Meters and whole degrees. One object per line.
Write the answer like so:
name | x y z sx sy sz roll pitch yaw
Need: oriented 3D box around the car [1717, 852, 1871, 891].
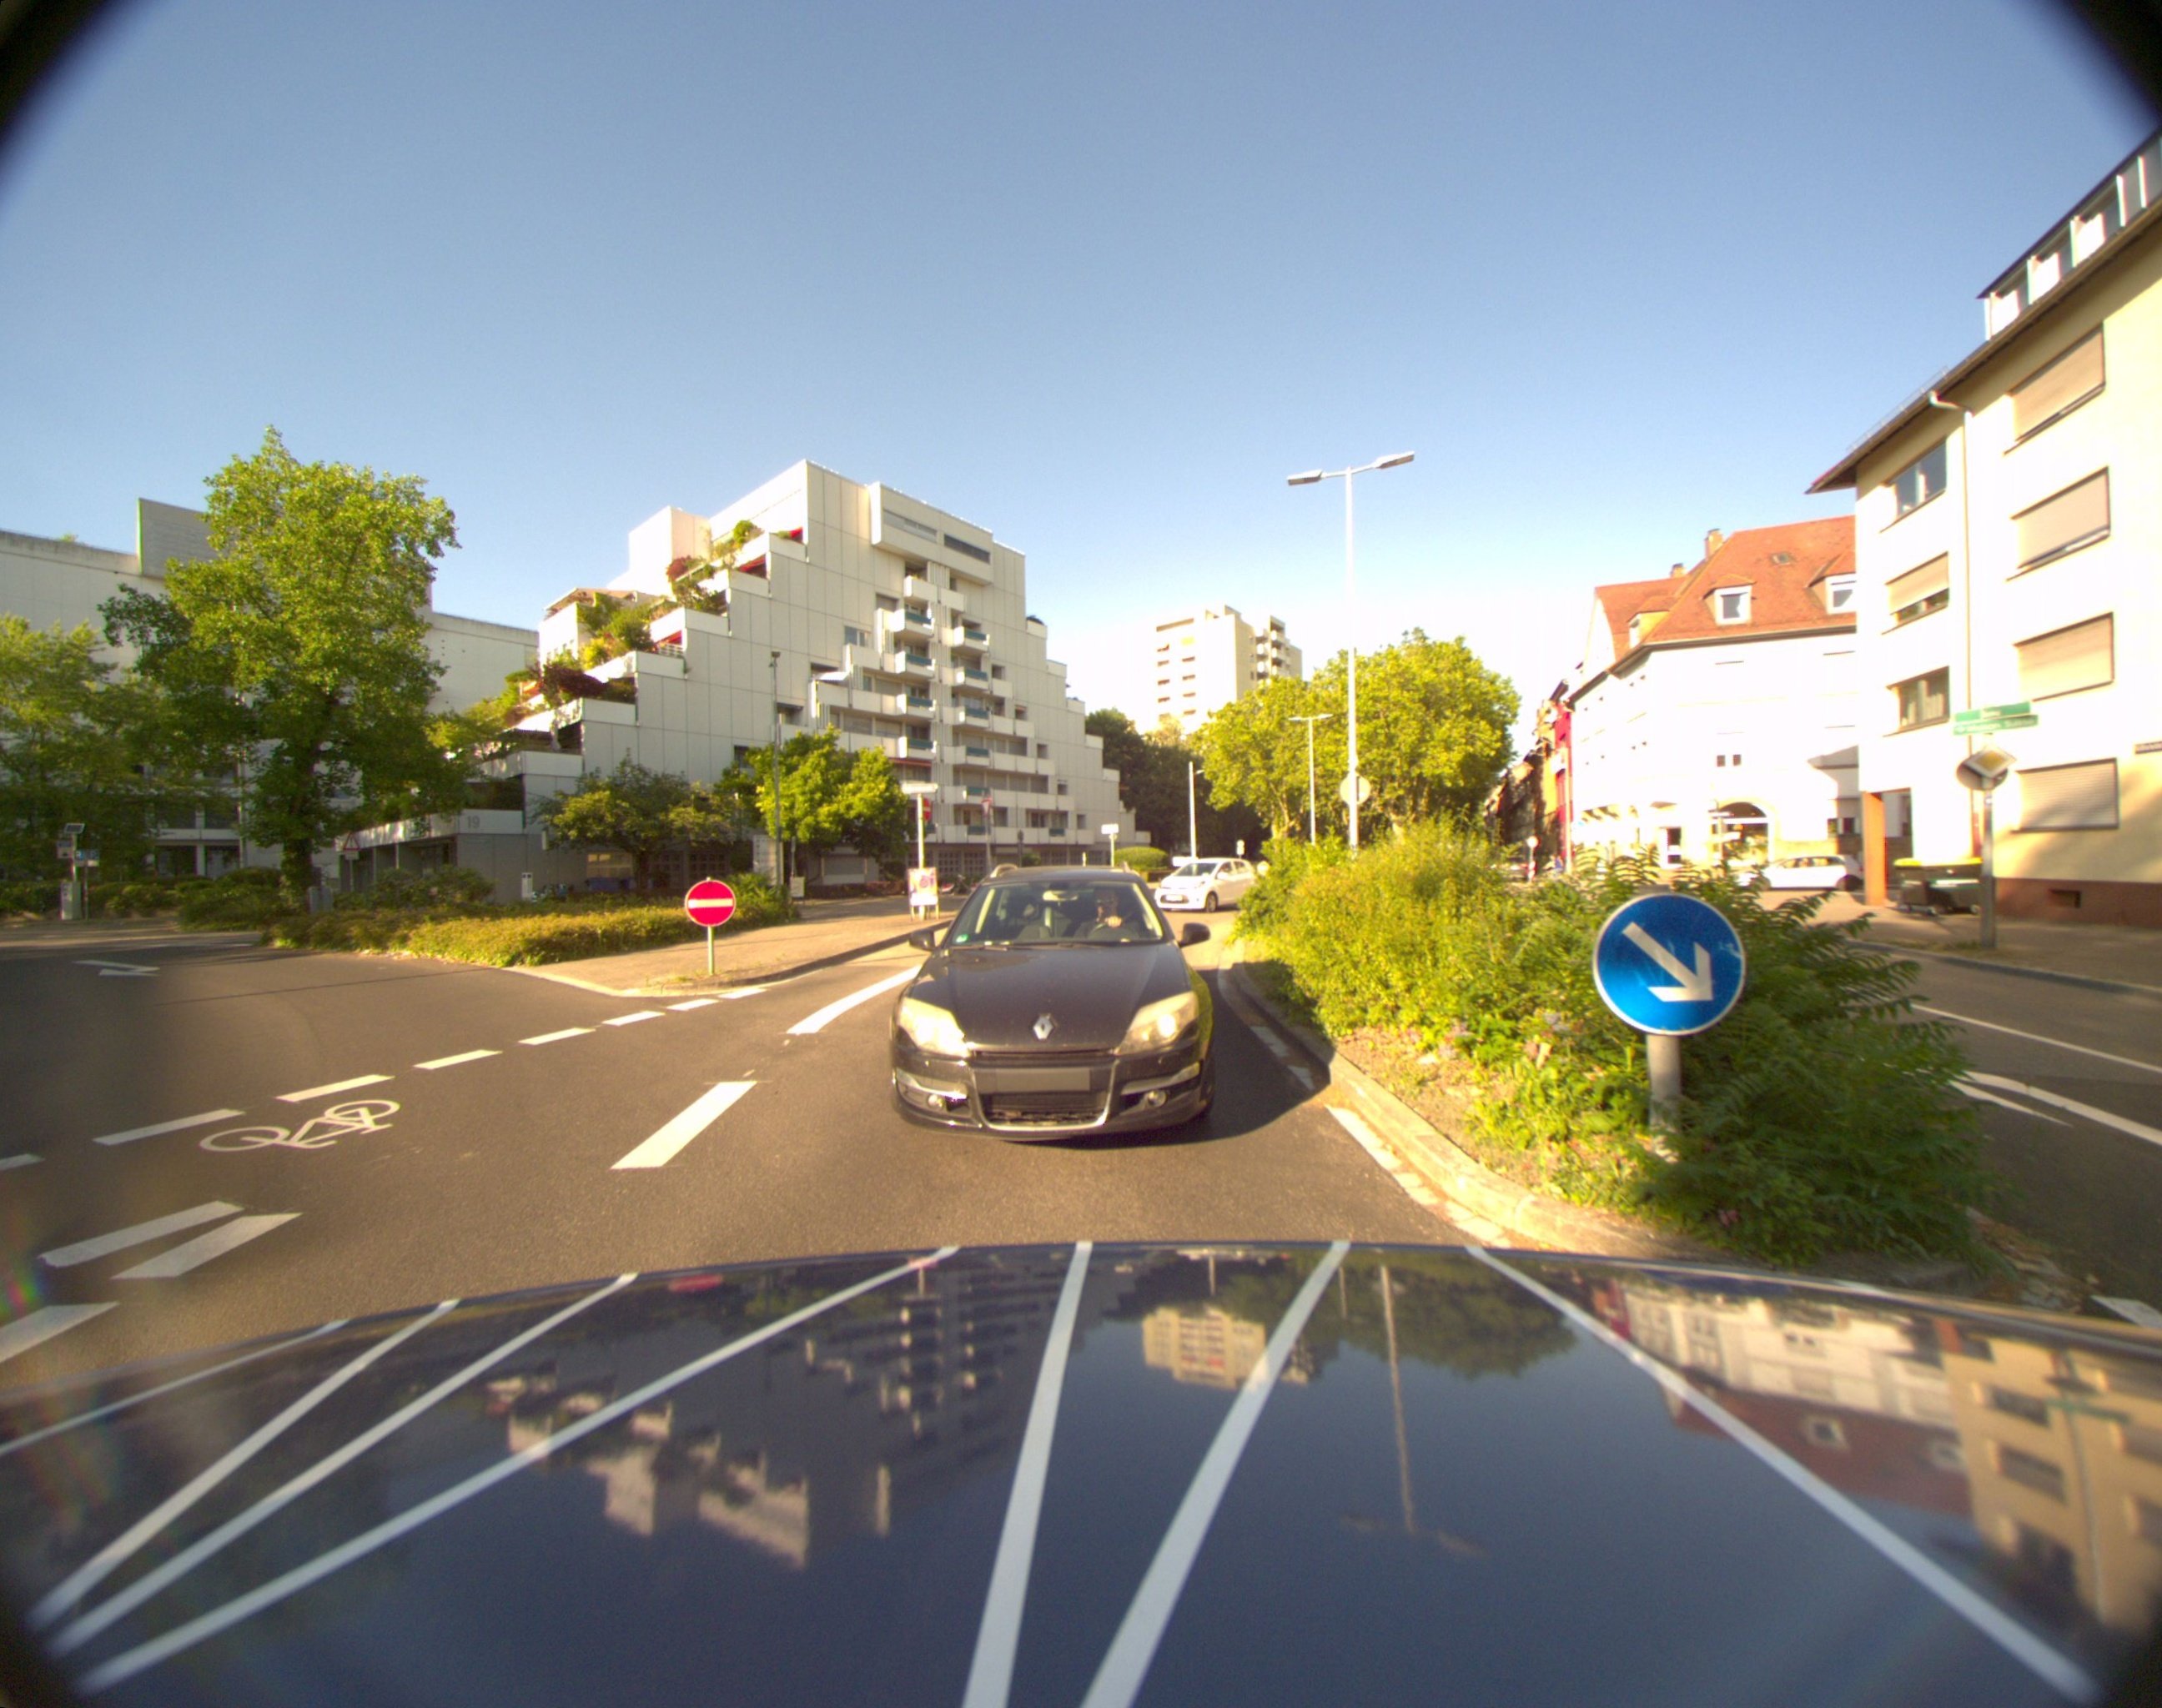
car | 28.651 0.701 30.726 4.195 1.502 1.804 -1 0 27

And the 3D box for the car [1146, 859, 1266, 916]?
car | 3.651 0.903 21.819 1.650 1.445 3.542 -1 0 44

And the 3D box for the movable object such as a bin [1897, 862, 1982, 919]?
movable object such as a bin | 20.002 0.830 17.736 1.032 1.278 1.064 -1 0 31

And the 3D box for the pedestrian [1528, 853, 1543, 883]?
pedestrian | 25.699 0.780 42.968 0.672 1.702 0.714 -1 0 30

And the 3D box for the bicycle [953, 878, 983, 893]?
bicycle | -6.039 1.698 40.669 1.575 0.780 0.464 -1 0 -3

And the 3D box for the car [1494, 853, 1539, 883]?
car | 27.420 0.860 47.964 1.895 1.782 4.006 -1 0 21

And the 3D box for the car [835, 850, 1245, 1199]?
car | -0.211 0.829 5.813 1.844 1.536 4.524 -3 -1 -1

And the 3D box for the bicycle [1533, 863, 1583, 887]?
bicycle | 21.737 0.954 34.661 1.865 1.083 0.629 -1 0 29

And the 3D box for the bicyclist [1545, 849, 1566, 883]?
bicyclist | 21.667 0.540 34.696 0.749 1.544 0.631 -1 0 29
